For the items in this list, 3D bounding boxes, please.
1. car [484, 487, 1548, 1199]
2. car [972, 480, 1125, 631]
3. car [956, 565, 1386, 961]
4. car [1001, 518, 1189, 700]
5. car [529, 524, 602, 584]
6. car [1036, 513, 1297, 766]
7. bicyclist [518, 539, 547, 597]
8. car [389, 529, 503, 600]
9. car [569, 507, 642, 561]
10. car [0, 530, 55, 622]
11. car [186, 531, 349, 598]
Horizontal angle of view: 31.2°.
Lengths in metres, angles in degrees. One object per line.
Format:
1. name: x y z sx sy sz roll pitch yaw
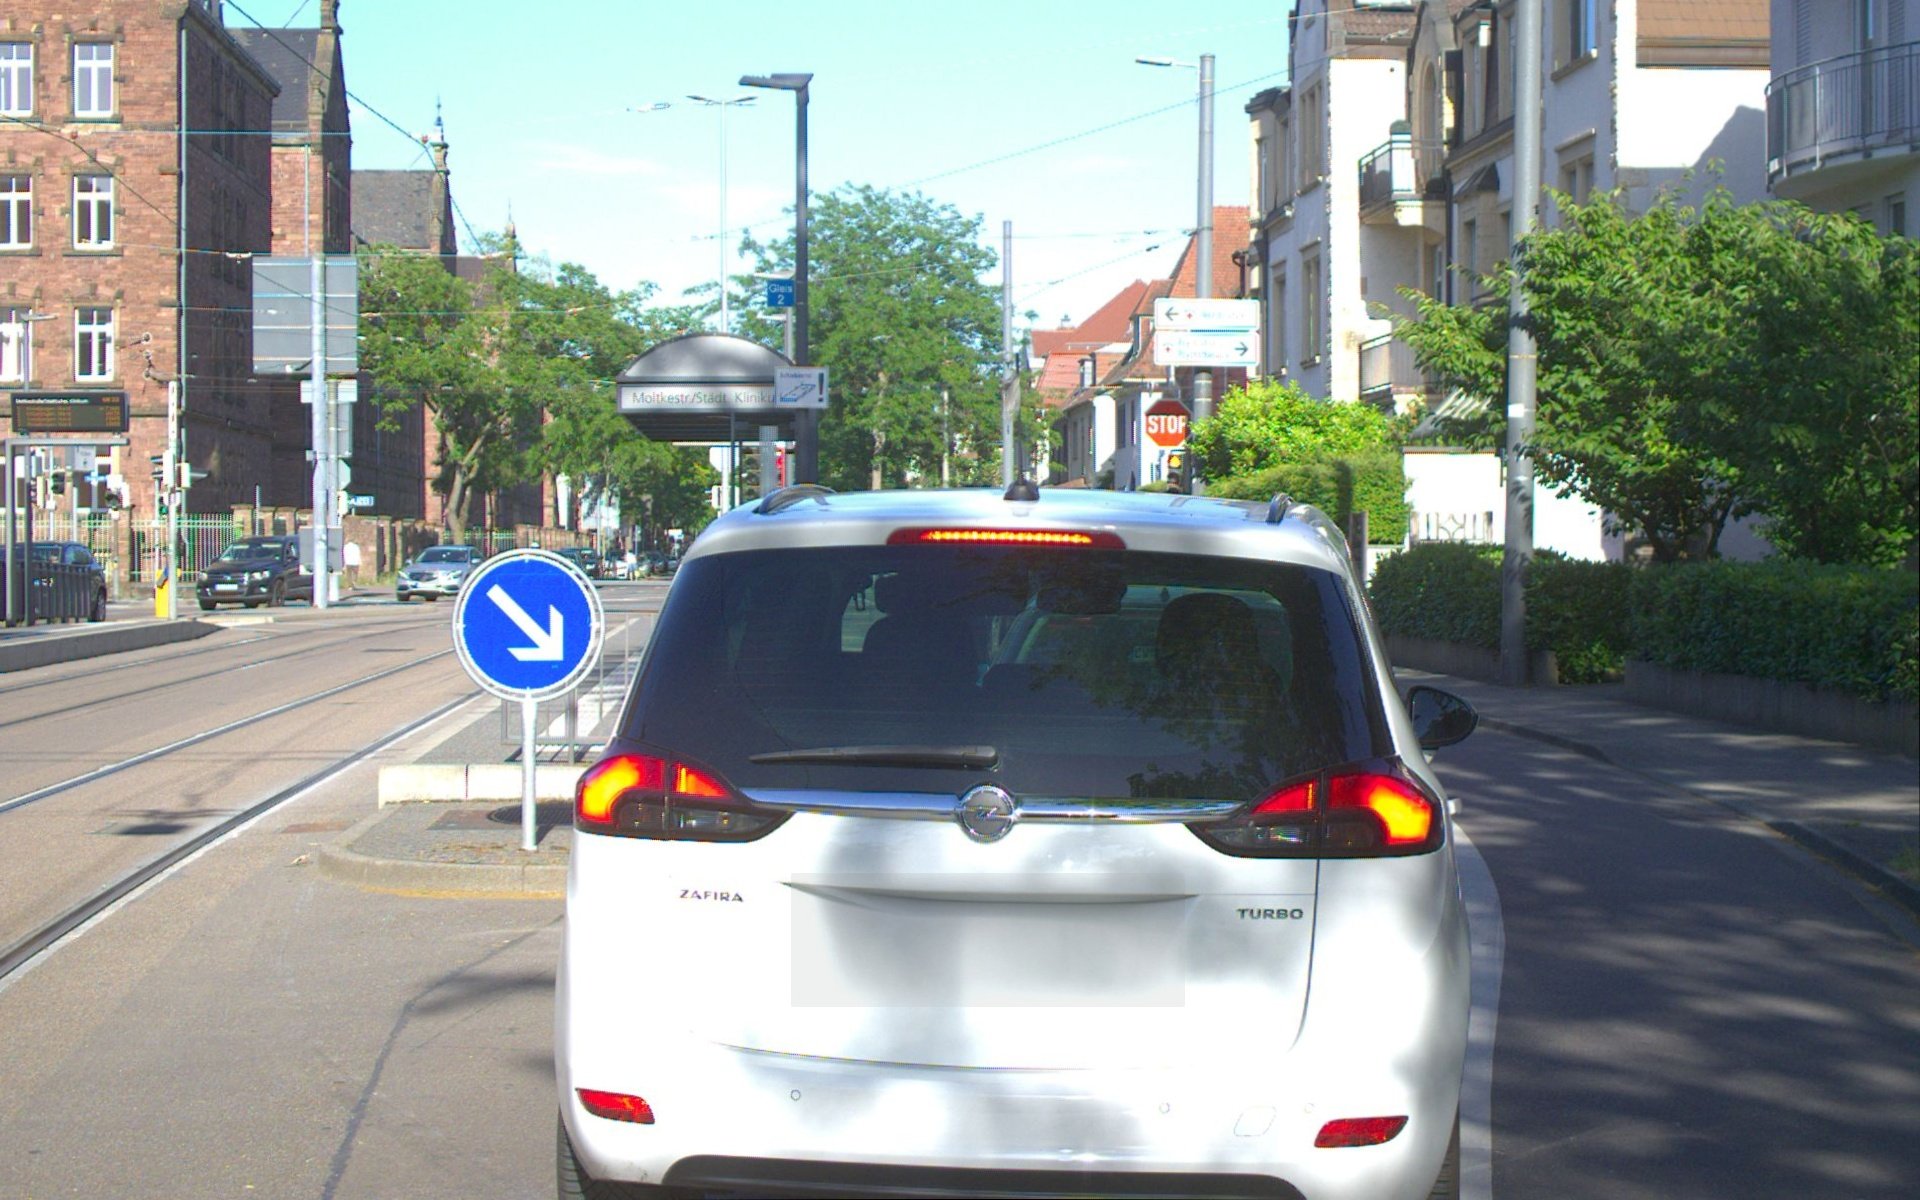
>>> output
1. car: 0.258 0.561 8.094 1.878 1.579 3.999 1 1 5
2. car: 0.994 -0.552 40.380 1.596 1.629 3.902 2 2 -1
3. car: 0.951 0.591 14.793 1.569 1.396 3.783 2 1 5
4. car: 1.280 0.047 33.908 1.596 1.629 3.901 2 1 -1
5. car: -13.608 -1.586 118.872 1.993 2.007 4.000 1 1 1
6. car: 1.392 0.219 24.411 1.569 1.609 3.784 2 1 0
7. bicyclist: -12.722 -0.949 102.333 0.725 1.682 1.170 1 2 -2
8. car: -13.294 -0.898 89.118 1.827 1.782 4.326 1 0 7
9. car: -13.717 -2.552 133.159 1.994 2.007 3.999 1 1 6
10. car: -17.665 -0.437 62.092 1.826 1.611 4.328 0 0 -5
11. car: -15.378 -0.768 76.545 1.828 1.441 4.324 1 0 15
